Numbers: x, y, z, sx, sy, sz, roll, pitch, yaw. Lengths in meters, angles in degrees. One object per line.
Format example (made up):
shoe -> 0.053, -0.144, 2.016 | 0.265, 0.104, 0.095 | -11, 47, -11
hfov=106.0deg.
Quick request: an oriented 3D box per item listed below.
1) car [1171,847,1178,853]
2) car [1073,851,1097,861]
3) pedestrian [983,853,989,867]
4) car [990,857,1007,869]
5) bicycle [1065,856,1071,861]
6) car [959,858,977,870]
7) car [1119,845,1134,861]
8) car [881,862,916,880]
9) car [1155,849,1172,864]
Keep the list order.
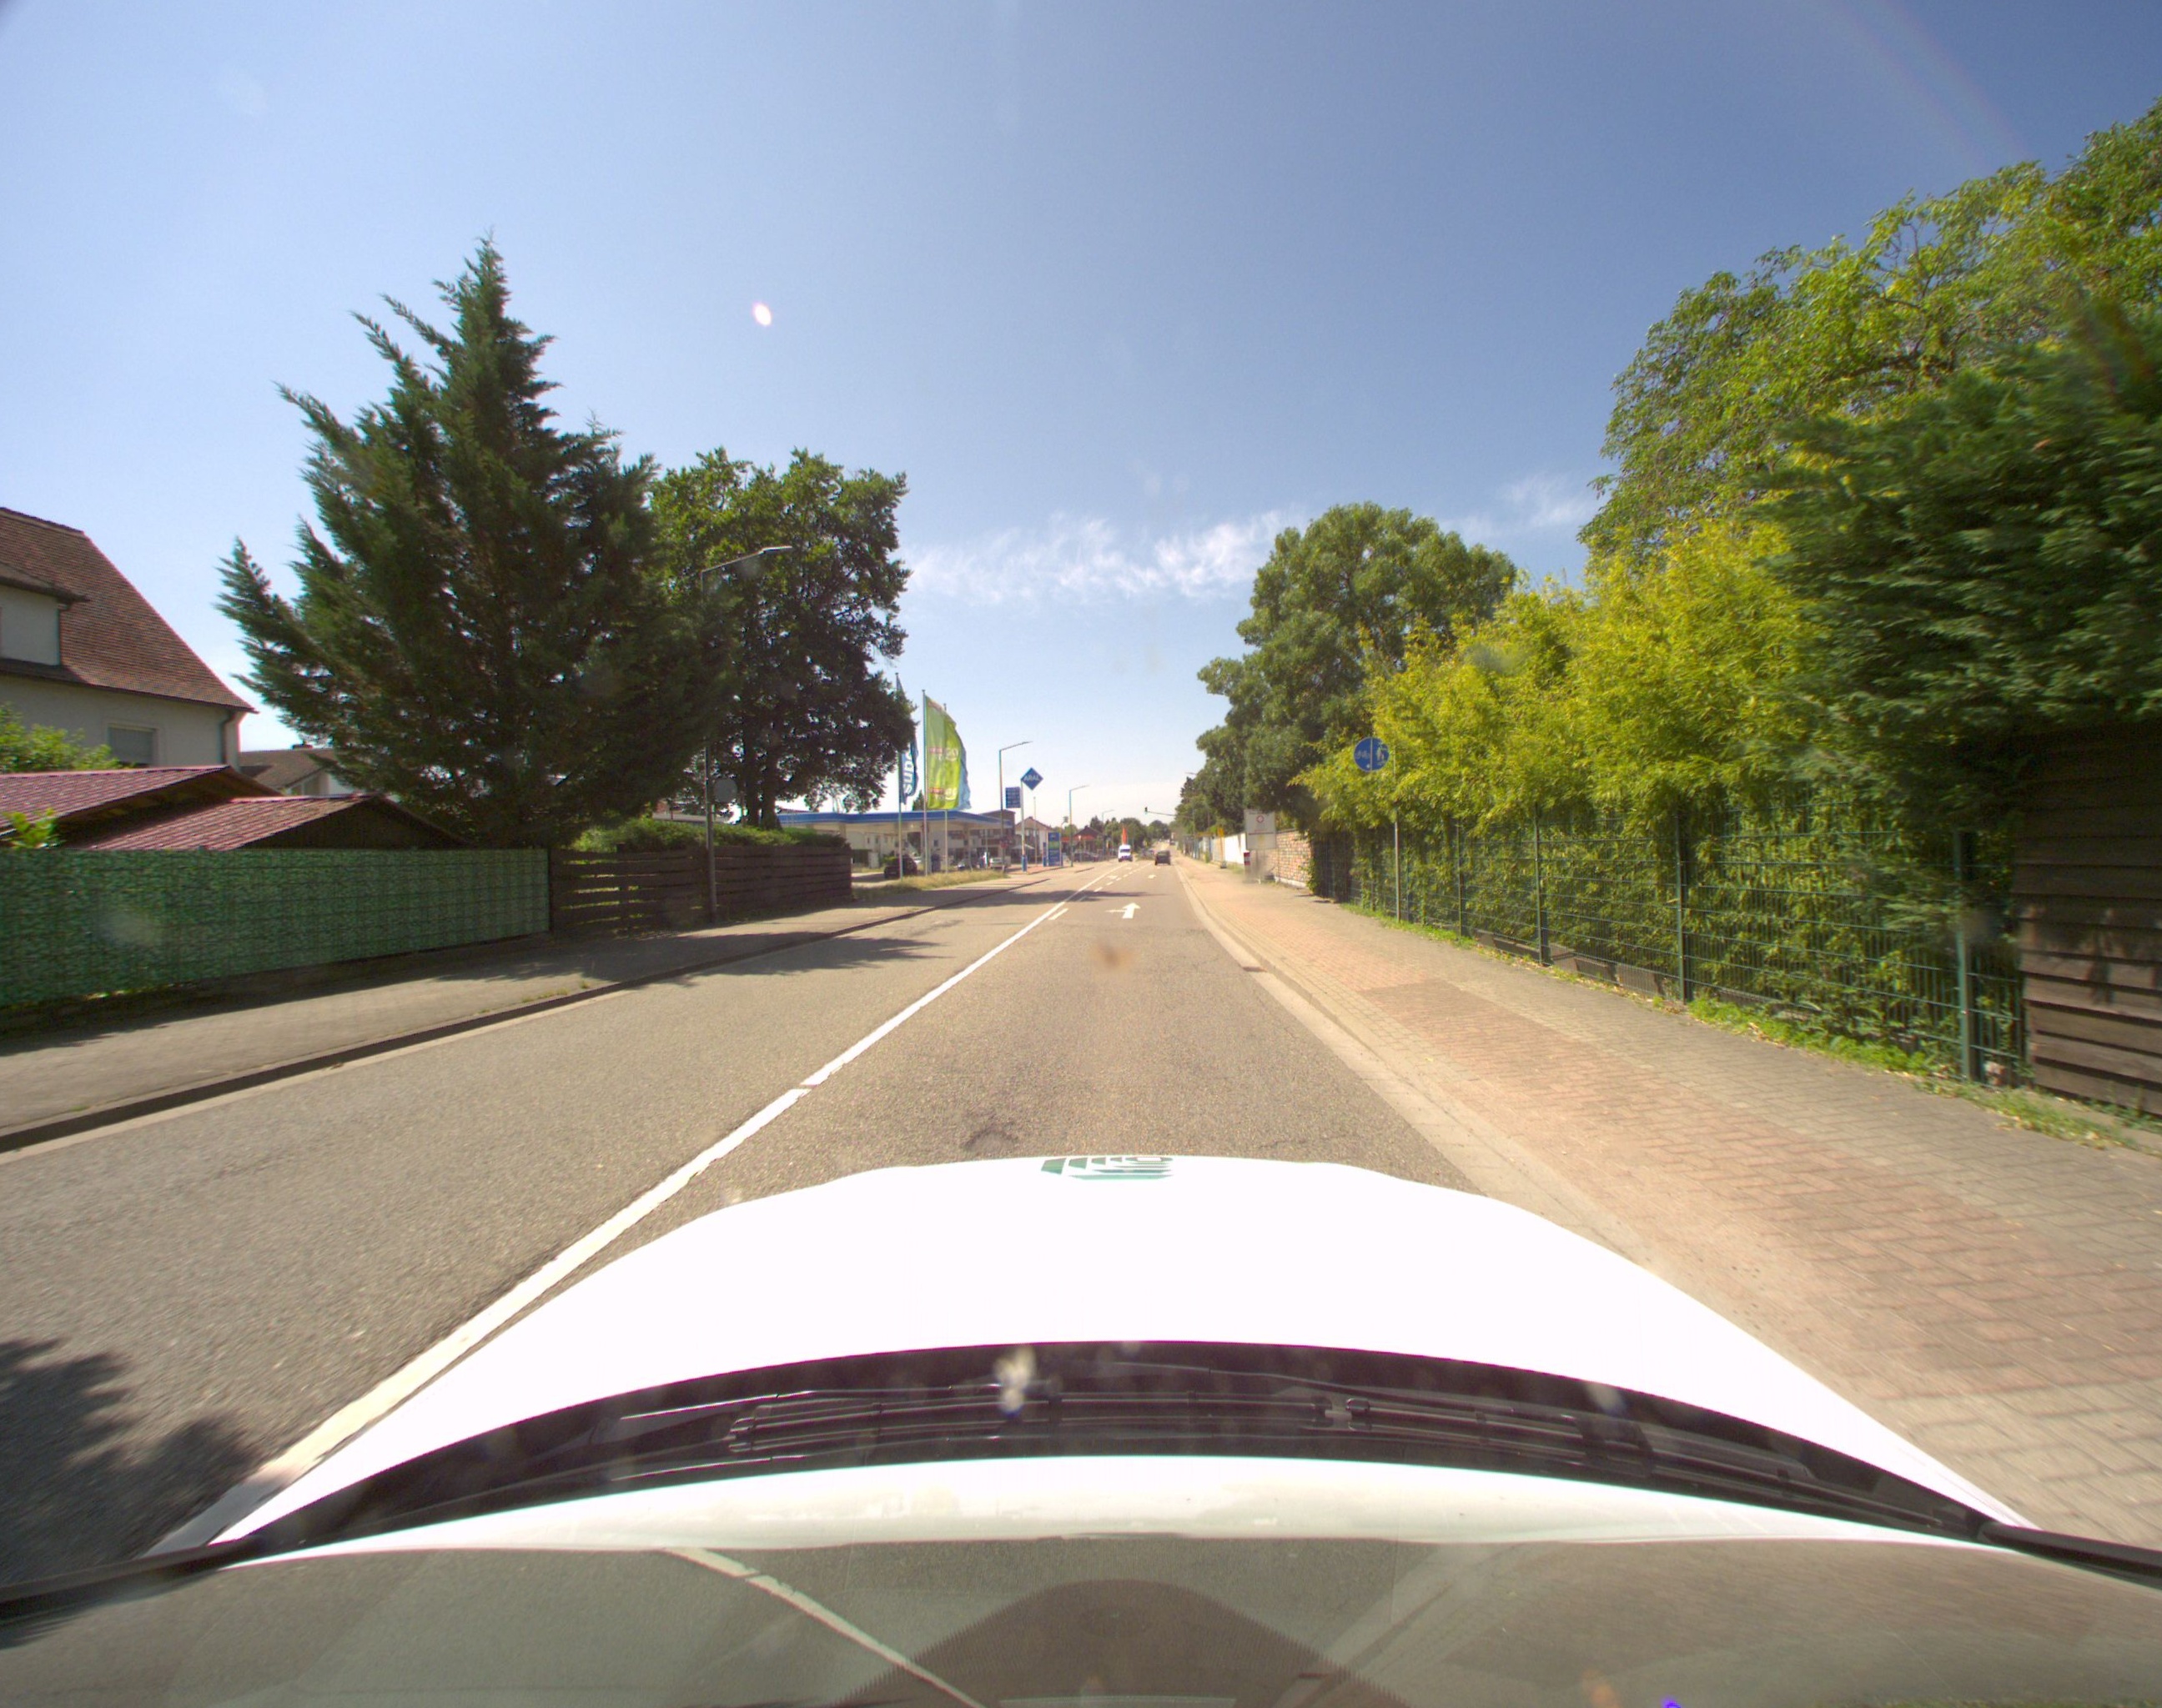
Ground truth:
car -> 22.613, -0.914, 197.878 | 1.657, 1.455, 3.478 | -2, 0, 6
car -> 0.661, 0.300, 134.230 | 3.971, 1.508, 1.556 | -2, 0, 2
pedestrian -> -12.281, 0.790, 105.579 | 0.613, 1.691, 0.704 | -2, 0, -20
car -> -10.593, 1.111, 104.556 | 1.611, 1.420, 3.713 | -3, 0, 2
bicycle -> -2.060, 0.725, 125.905 | 0.609, 0.793, 2.579 | -2, 0, 6
car -> -14.568, 1.237, 104.761 | 1.611, 1.420, 3.713 | -3, 0, 2
car -> 7.261, -0.186, 130.167 | 1.983, 2.423, 5.958 | 0, -1, 6
car -> -15.322, 1.400, 68.541 | 1.661, 1.381, 4.007 | -2, 0, 6
car -> 8.880, 0.272, 87.543 | 1.657, 1.455, 3.478 | -2, 0, 6
